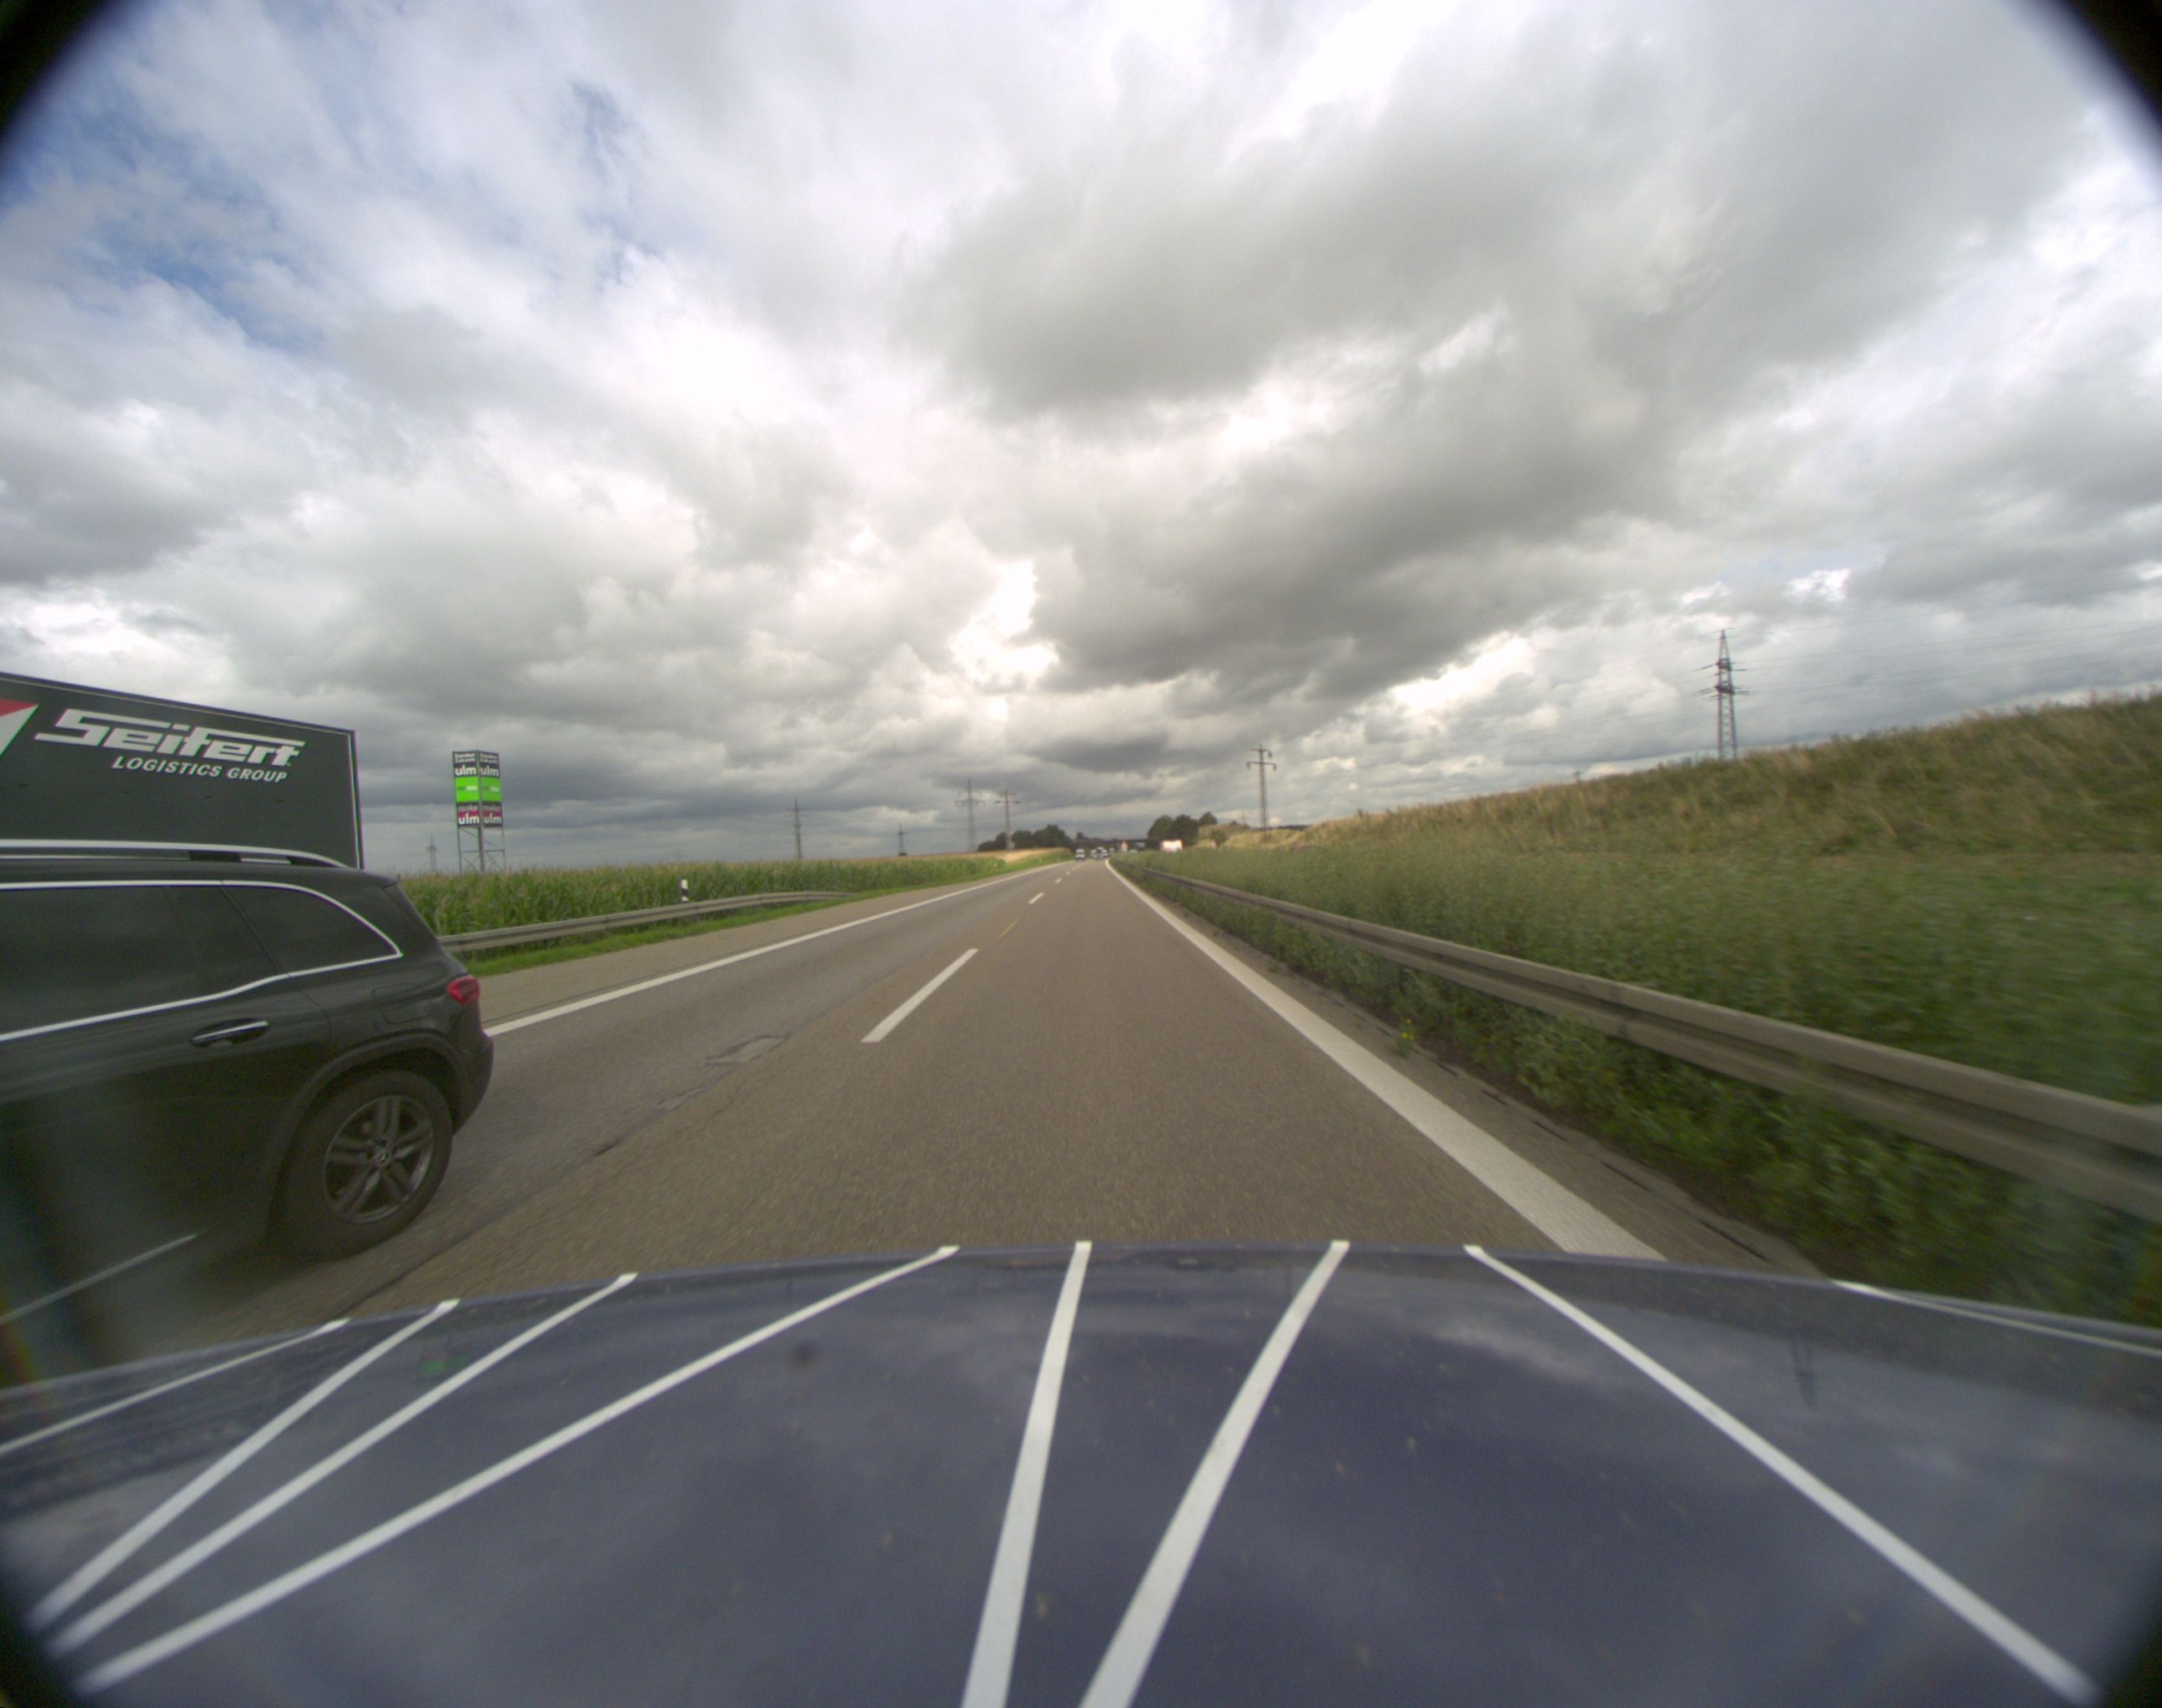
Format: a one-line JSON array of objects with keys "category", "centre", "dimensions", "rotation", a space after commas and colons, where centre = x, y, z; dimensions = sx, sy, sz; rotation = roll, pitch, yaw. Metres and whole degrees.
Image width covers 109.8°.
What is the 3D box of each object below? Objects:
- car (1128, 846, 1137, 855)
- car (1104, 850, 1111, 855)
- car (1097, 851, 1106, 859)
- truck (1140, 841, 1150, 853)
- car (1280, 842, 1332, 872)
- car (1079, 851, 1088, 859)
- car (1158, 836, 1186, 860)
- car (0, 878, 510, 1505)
[{"category": "car", "centre": [12.193, -0.741, 180.454], "dimensions": [1.998, 2.002, 5.531], "rotation": [-3, 1, 2]}, {"category": "car", "centre": [8.868, -0.562, 253.831], "dimensions": [1.998, 1.698, 4.000], "rotation": [-2, 0, 1]}, {"category": "car", "centre": [4.956, 0.163, 181.004], "dimensions": [1.998, 1.695, 4.663], "rotation": [-4, -1, 3]}, {"category": "truck", "centre": [21.590, -2.416, 256.312], "dimensions": [2.729, 3.913, 17.403], "rotation": [-2, 0, 2]}, {"category": "car", "centre": [12.657, 0.149, 42.940], "dimensions": [1.736, 1.547, 4.000], "rotation": [-3, 1, 1]}, {"category": "car", "centre": [0.653, 0.233, 176.321], "dimensions": [1.998, 1.812, 4.342], "rotation": [-2, 0, 2]}, {"category": "car", "centre": [9.152, -0.613, 76.782], "dimensions": [2.129, 2.254, 5.452], "rotation": [-3, 1, 1]}, {"category": "car", "centre": [-3.837, 0.971, 1.605], "dimensions": [1.838, 1.600, 4.360], "rotation": [-2, 1, 1]}]
